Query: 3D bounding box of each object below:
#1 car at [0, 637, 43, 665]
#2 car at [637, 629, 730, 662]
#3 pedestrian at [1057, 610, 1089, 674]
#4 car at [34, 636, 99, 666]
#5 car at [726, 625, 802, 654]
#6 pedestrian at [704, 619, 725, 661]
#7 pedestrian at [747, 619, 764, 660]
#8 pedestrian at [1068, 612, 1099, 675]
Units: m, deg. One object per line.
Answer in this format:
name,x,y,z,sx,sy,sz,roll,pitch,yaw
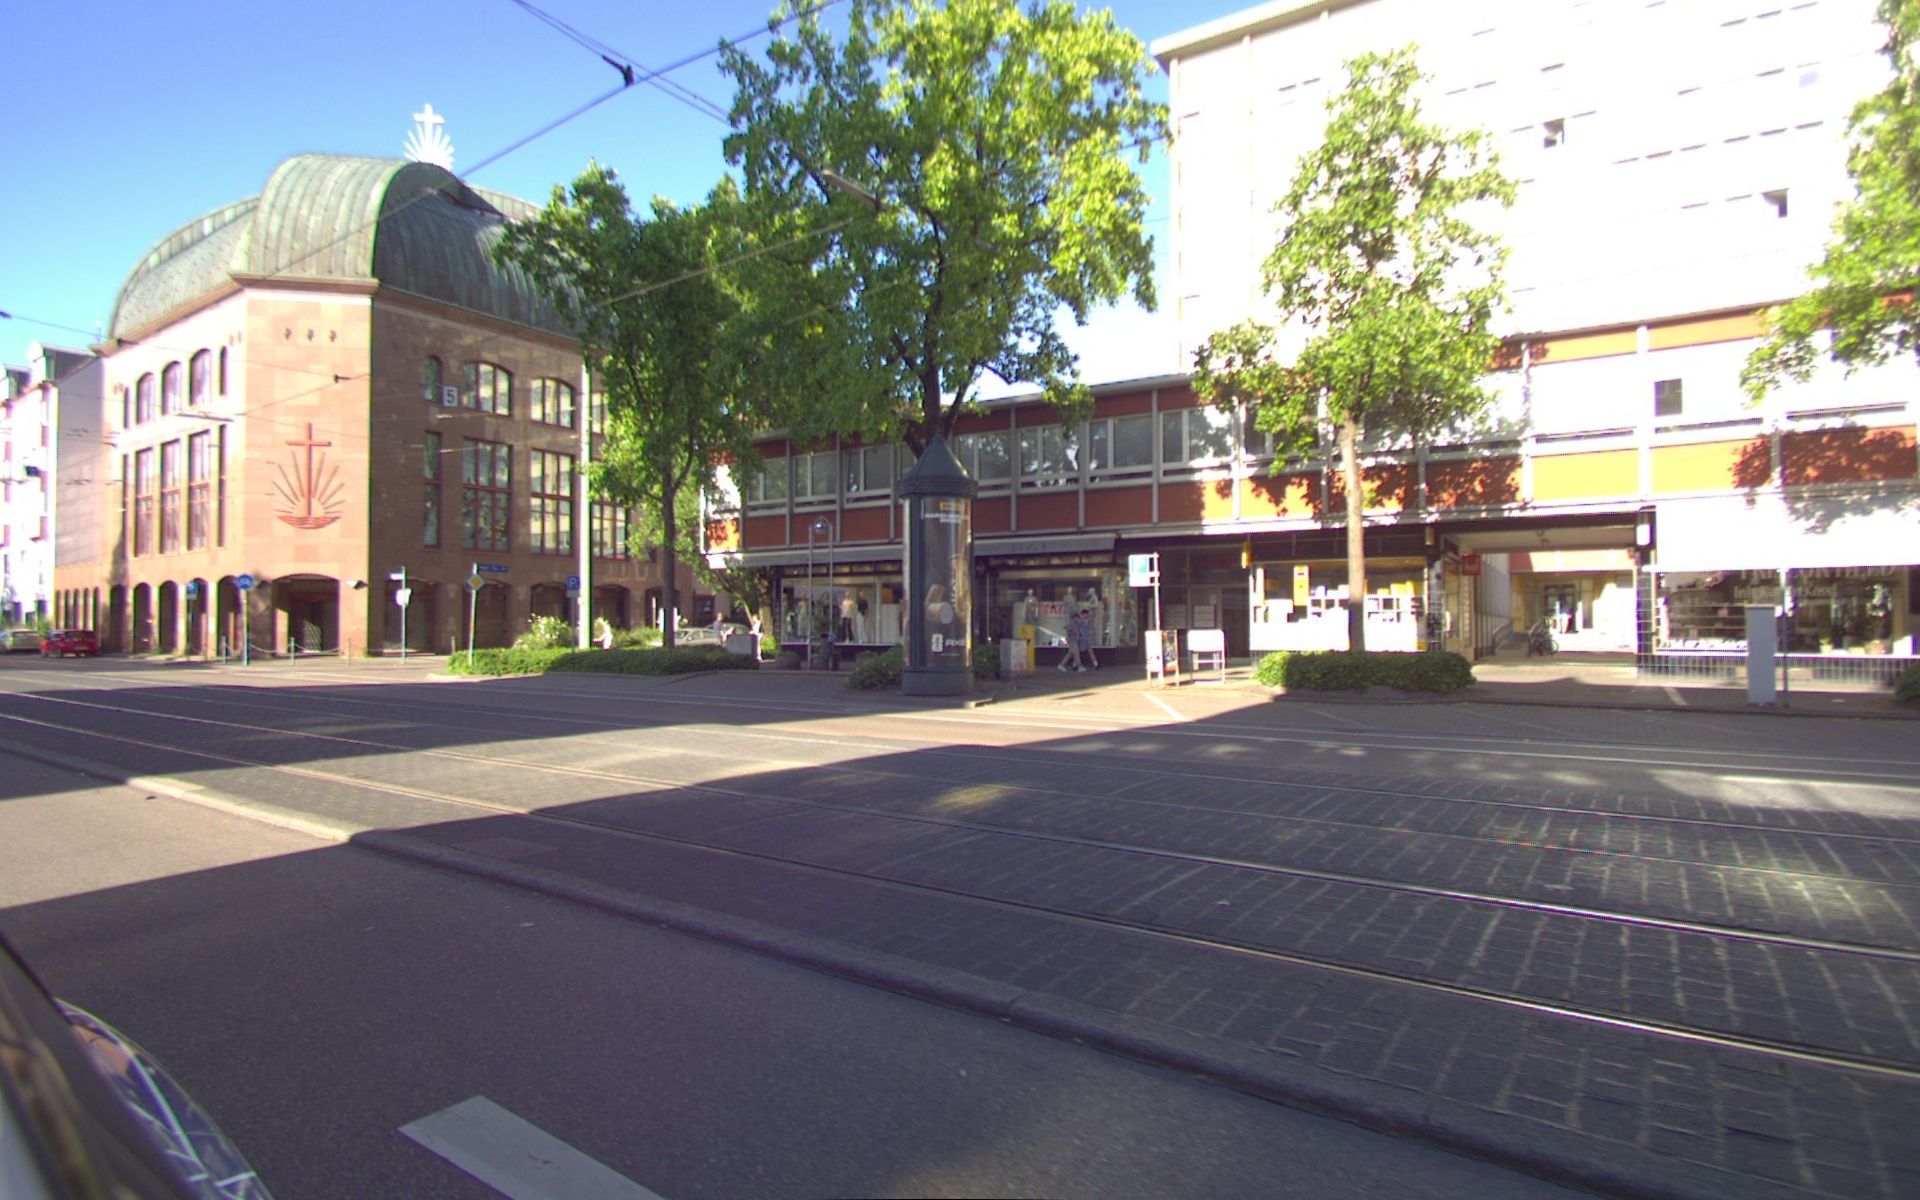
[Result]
car,-54.428,2.905,58.159,3.845,1.465,1.835,-2,-1,36
car,-13.723,2.247,50.393,1.995,1.542,4.224,-2,-3,35
pedestrian,3.179,1.185,28.517,0.705,1.785,0.567,-2,-2,36
car,-46.473,2.627,52.644,3.462,1.465,1.734,-2,-1,34
car,-10.894,2.182,56.506,1.990,1.542,4.236,-1,-2,27
pedestrian,-9.339,1.515,38.535,0.722,1.604,0.441,-2,-3,45
pedestrian,-7.955,1.540,39.387,0.439,1.604,0.724,1,-3,-29
pedestrian,3.532,1.244,28.989,0.705,1.764,0.567,-2,-2,36
